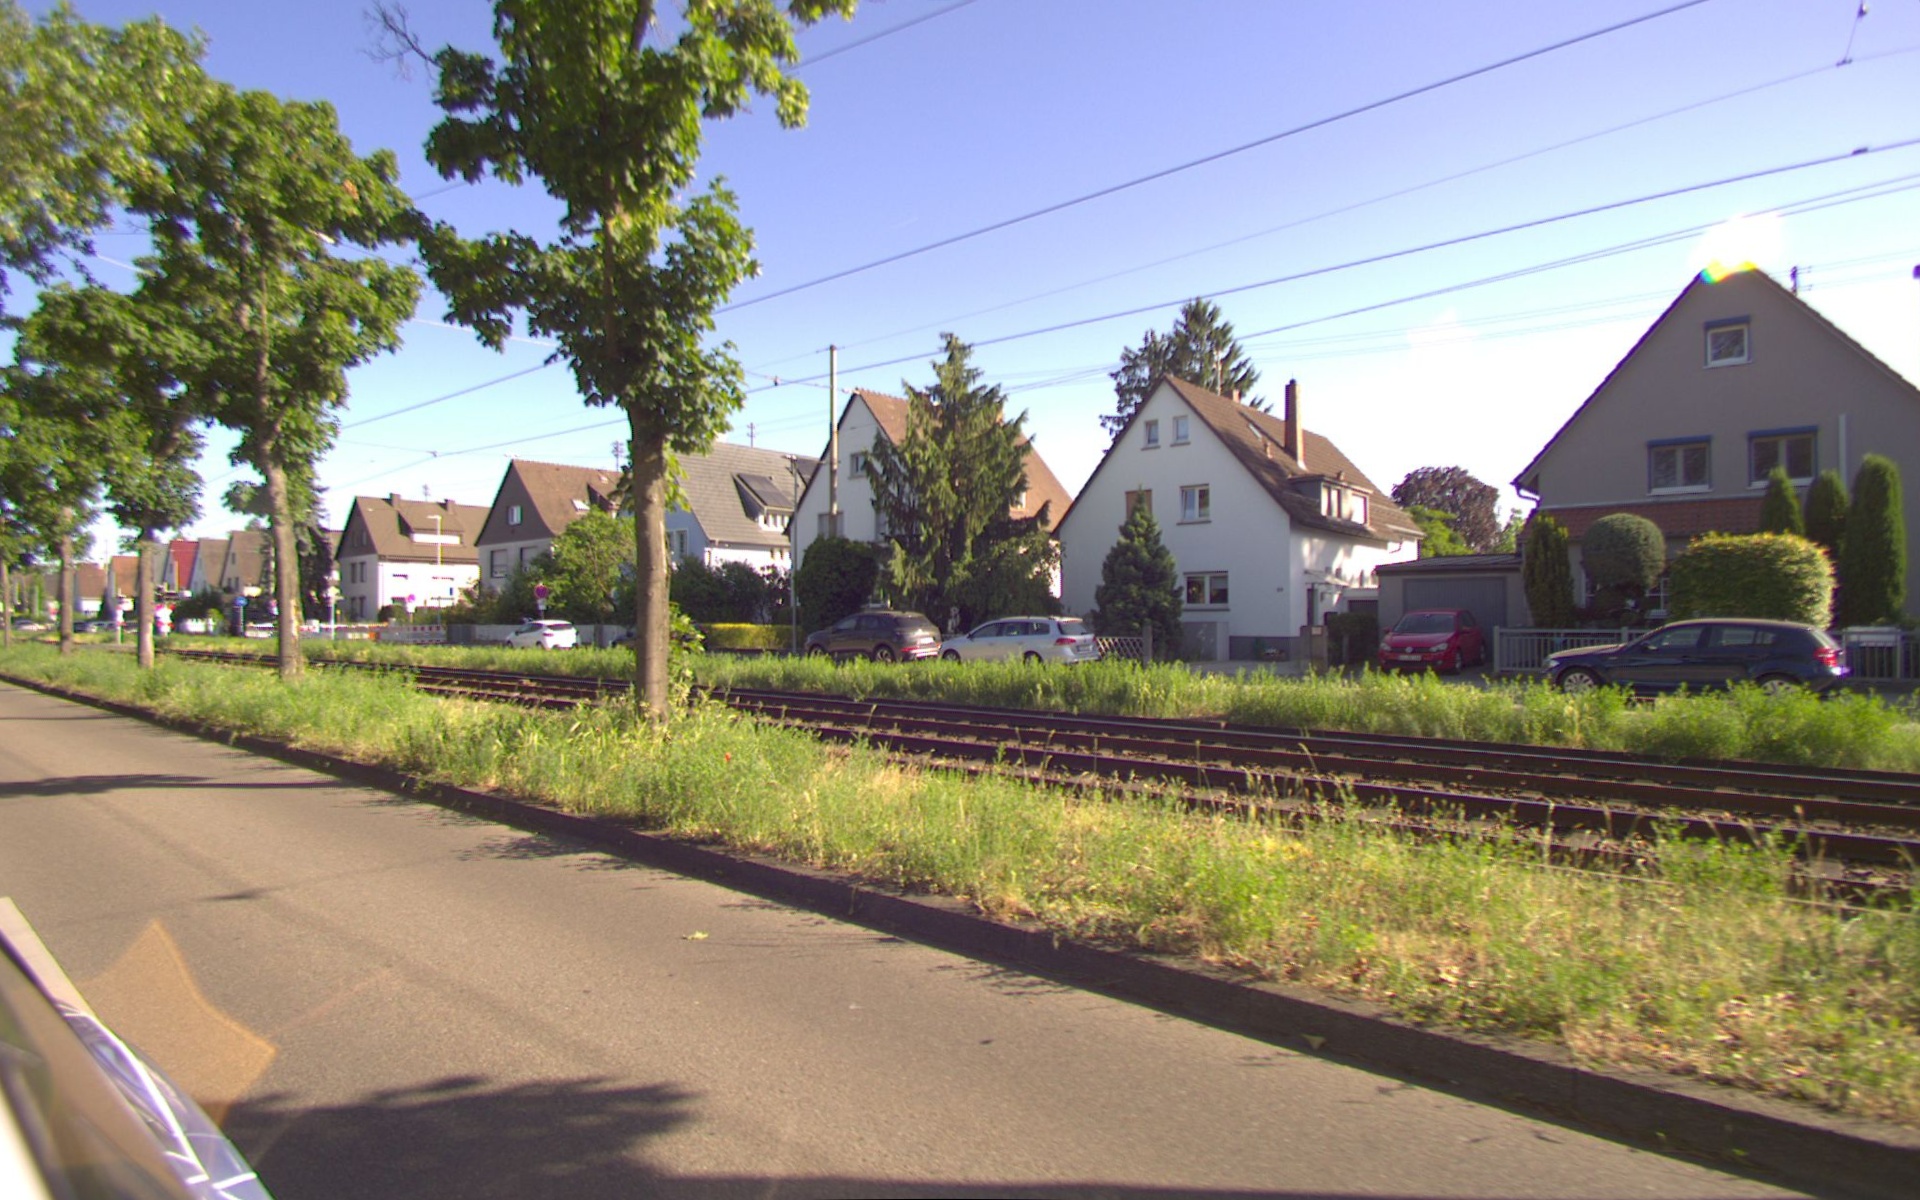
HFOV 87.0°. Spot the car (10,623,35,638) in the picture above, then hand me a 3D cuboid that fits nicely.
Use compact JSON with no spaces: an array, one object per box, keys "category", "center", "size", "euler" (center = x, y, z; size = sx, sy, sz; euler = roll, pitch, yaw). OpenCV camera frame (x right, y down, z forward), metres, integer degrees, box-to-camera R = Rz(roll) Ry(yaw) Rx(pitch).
[{"category":"car","center":[-101.342,3.313,109.378],"size":[4.001,1.602,1.708],"euler":[-1,-2,44]}]

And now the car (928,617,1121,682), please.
[{"category":"car","center":[1.579,1.215,26.058],"size":[4.837,1.483,1.864],"euler":[-1,0,42]}]

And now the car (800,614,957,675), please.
[{"category":"car","center":[-2.416,1.227,29.156],"size":[4.534,1.573,1.864],"euler":[-1,0,41]}]

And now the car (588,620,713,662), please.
[{"category":"car","center":[-11.223,1.445,36.546],"size":[4.980,1.351,1.973],"euler":[-1,0,41]}]

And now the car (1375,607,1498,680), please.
[{"category":"car","center":[11.716,0.986,24.730],"size":[1.746,1.481,4.433],"euler":[-1,1,39]}]

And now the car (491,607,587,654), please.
[{"category":"car","center":[-17.820,1.254,42.756],"size":[4.582,1.877,1.973],"euler":[-1,-1,41]}]

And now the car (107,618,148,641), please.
[{"category":"car","center":[-60.971,2.150,74.112],"size":[3.999,1.697,1.762],"euler":[-1,-1,42]}]

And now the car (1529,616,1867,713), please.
[{"category":"car","center":[12.081,0.981,16.756],"size":[4.308,1.382,1.972],"euler":[-1,-1,42]}]
